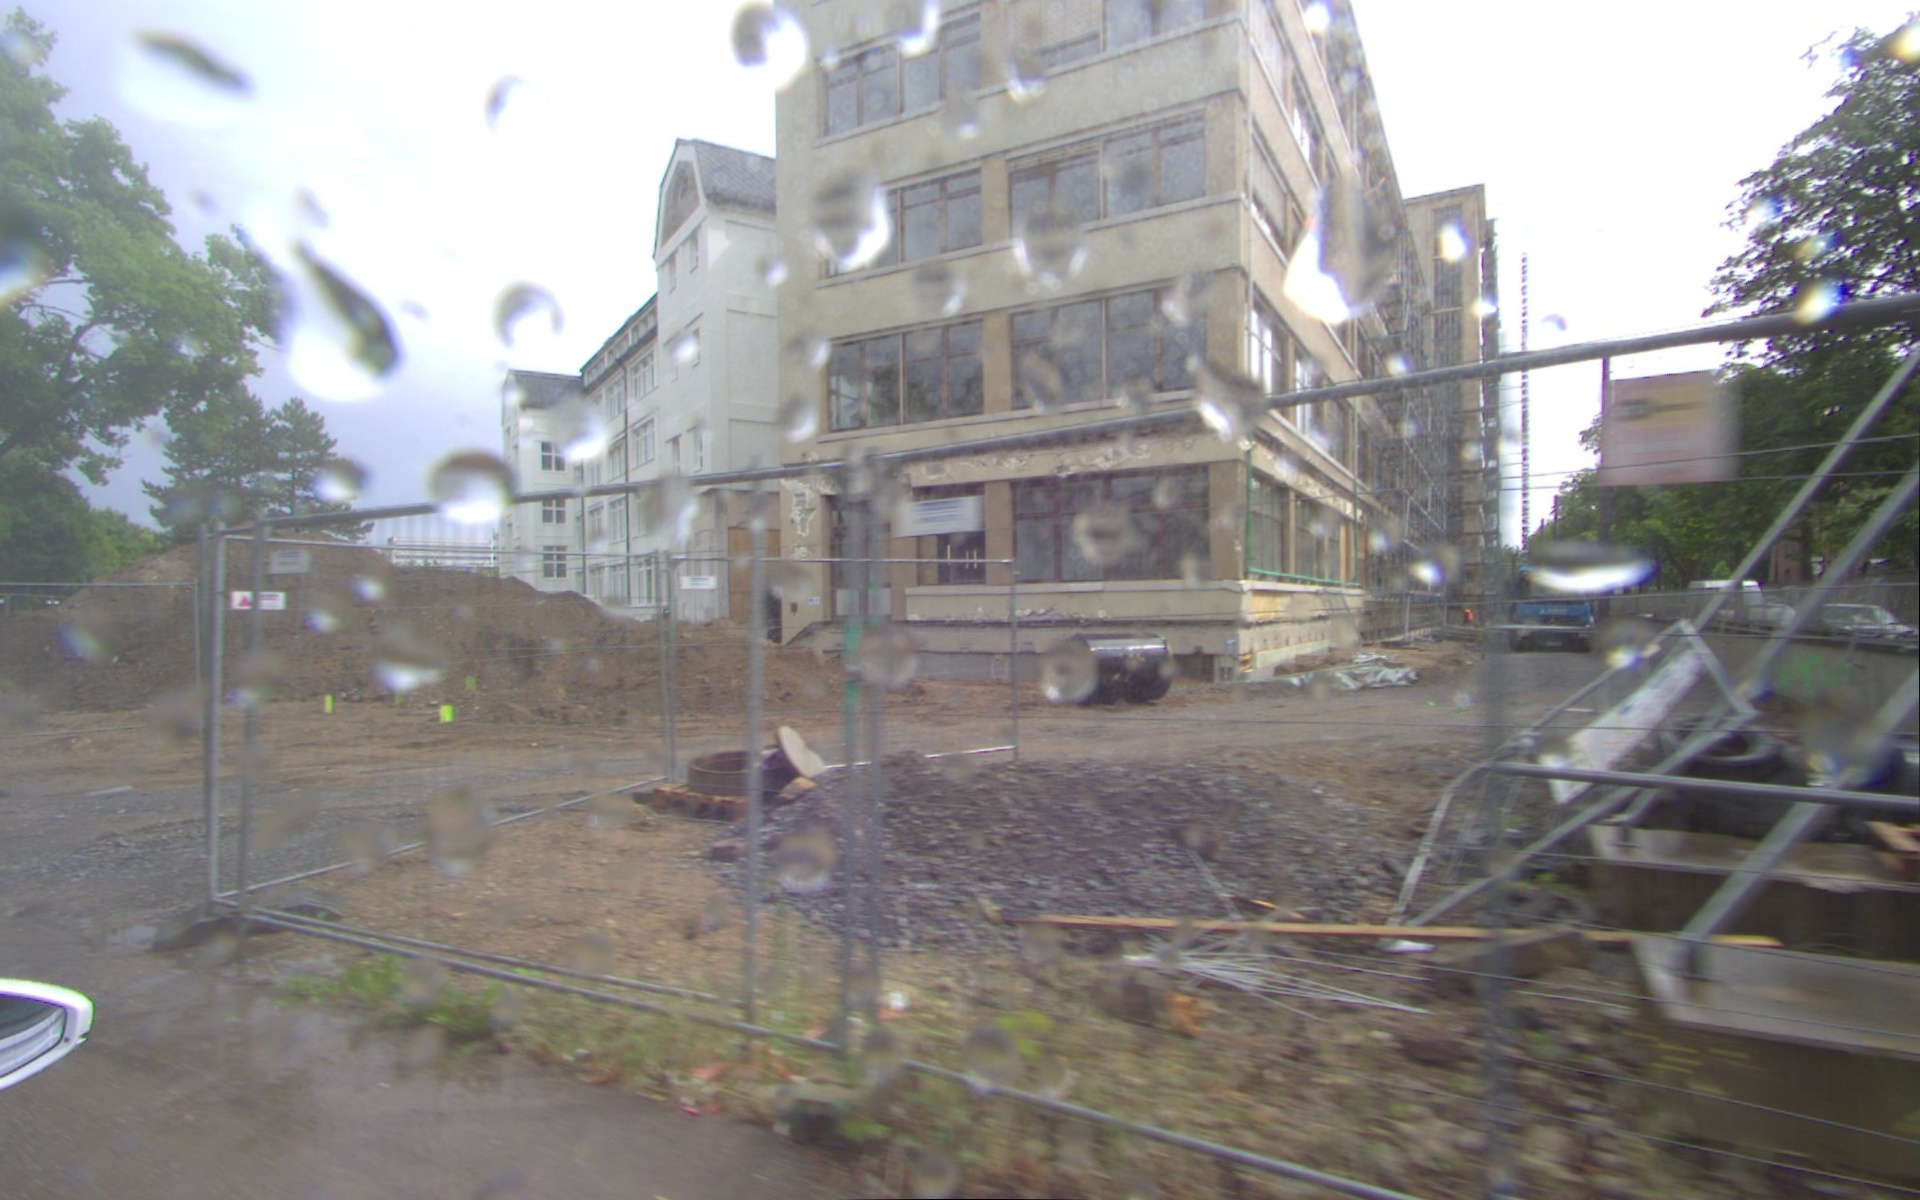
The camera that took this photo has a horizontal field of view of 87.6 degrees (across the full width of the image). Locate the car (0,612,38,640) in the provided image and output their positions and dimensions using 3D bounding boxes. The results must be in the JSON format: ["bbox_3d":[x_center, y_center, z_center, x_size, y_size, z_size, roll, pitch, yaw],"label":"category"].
[{"bbox_3d":[-56.591,1.504,58.504,3.823,1.594,1.943,2,0,-37],"label":"car"}]

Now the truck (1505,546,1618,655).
[{"bbox_3d":[22.678,0.093,38.029,3.194,3.573,9.866,1,0,30],"label":"truck"}]

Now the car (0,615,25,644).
[{"bbox_3d":[-53.554,1.588,54.291,3.951,1.580,1.751,2,0,-36],"label":"car"}]

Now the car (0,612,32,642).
[{"bbox_3d":[-55.098,1.509,56.755,3.560,1.642,1.853,2,0,-40],"label":"car"}]

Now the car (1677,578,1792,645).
[{"bbox_3d":[31.519,0.498,40.994,2.555,2.506,6.130,1,0,27],"label":"car"}]

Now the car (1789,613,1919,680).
[{"bbox_3d":[22.251,1.102,24.610,1.859,1.490,3.989,1,0,24],"label":"car"}]
